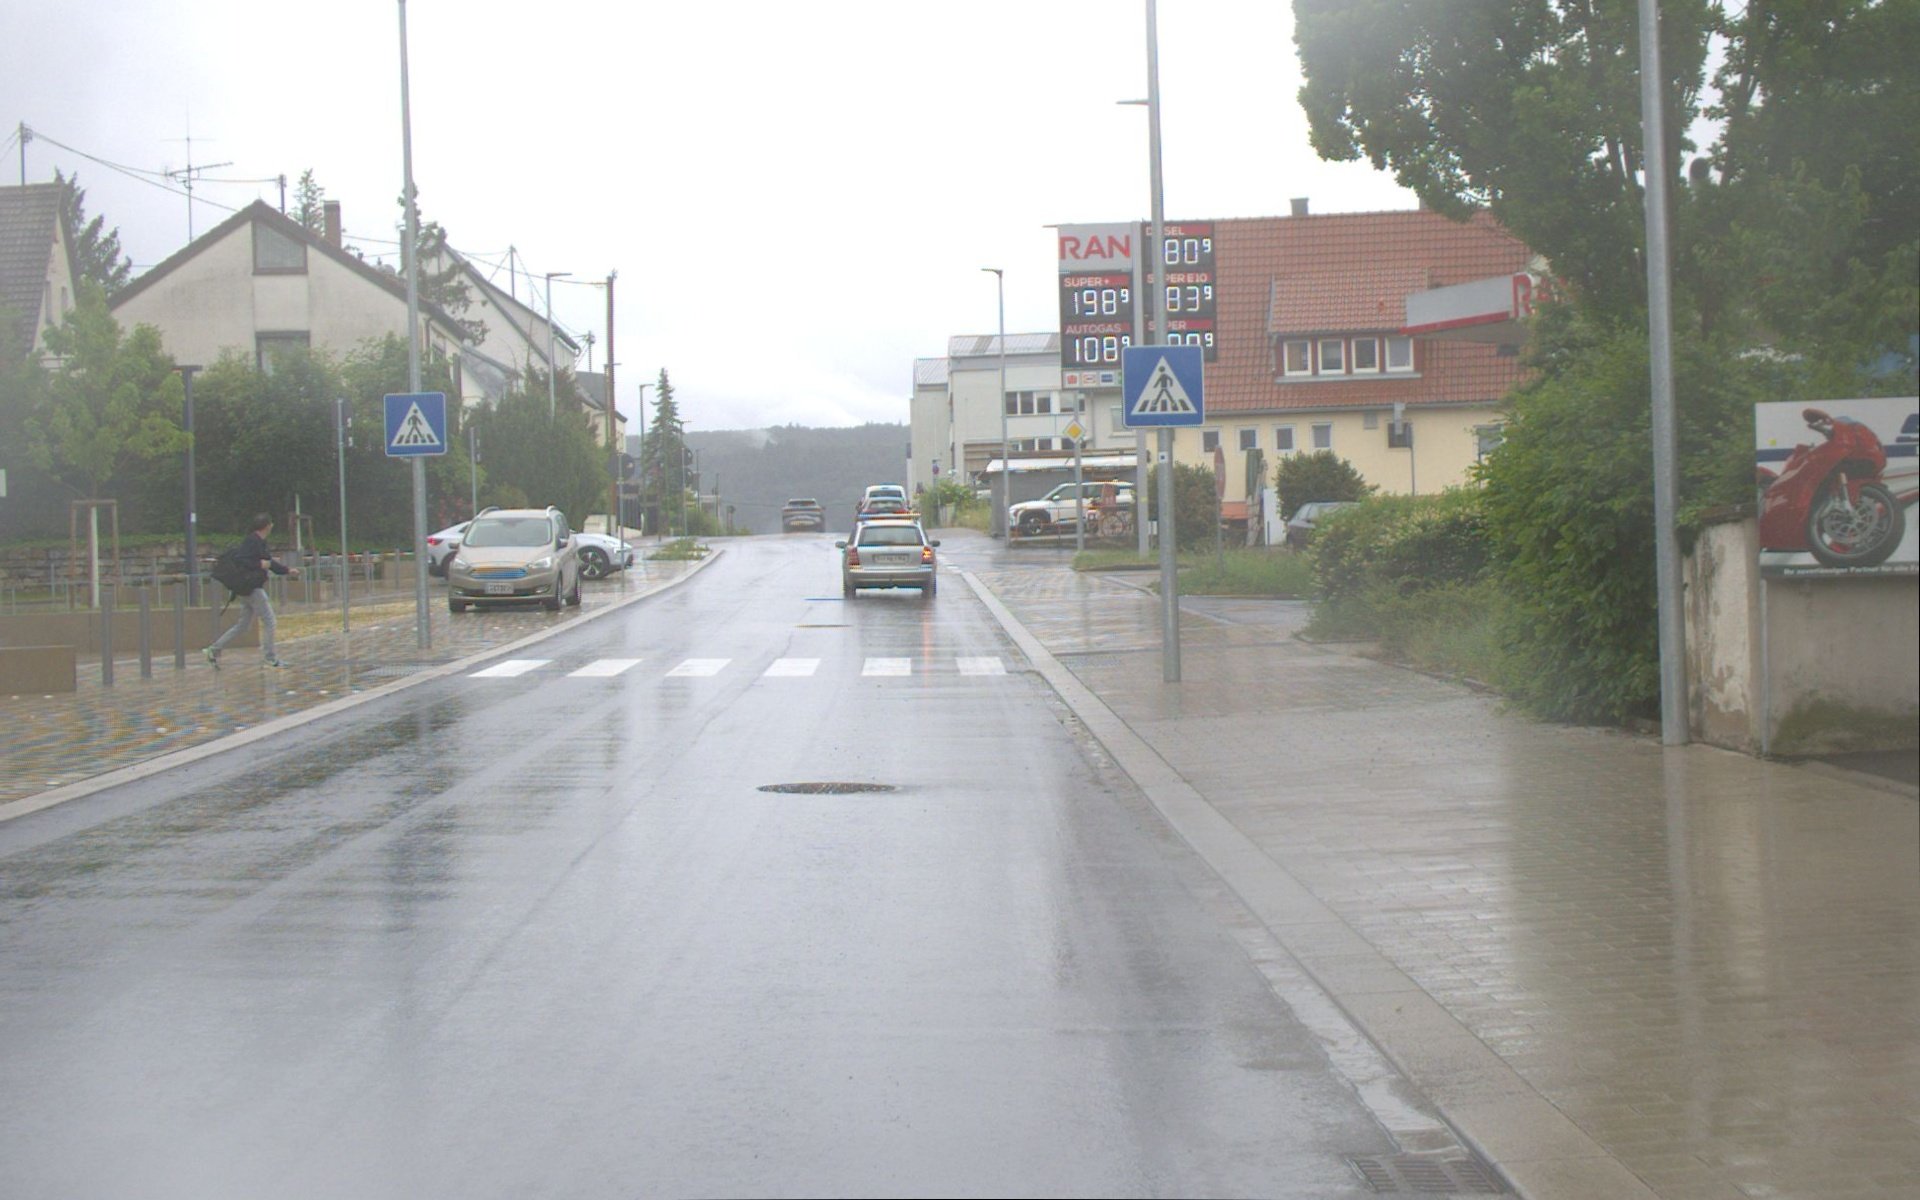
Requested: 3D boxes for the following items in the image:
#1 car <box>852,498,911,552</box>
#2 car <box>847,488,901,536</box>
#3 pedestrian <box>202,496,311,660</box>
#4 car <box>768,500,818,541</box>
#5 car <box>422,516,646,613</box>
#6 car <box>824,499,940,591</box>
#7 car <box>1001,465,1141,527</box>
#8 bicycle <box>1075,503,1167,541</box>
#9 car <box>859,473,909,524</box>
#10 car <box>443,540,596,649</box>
[{"bbox_3d":[-2.790,-2.645,121.939,1.993,1.700,4.000,2,0,-1],"label":"car"},{"bbox_3d":[-3.366,-3.436,135.041,1.993,1.700,4.000,2,0,-1],"label":"car"},{"bbox_3d":[-7.514,-0.242,36.773,1.013,1.718,0.772,-1,1,-3],"label":"pedestrian"},{"bbox_3d":[-7.738,-3.672,159.889,2.154,1.700,4.000,2,0,-1],"label":"car"},{"bbox_3d":[-9.752,-0.801,78.932,4.753,2.007,2.000,2,0,3],"label":"car"},{"bbox_3d":[-1.480,-0.990,63.670,1.948,1.550,4.000,2,0,-3],"label":"car"},{"bbox_3d":[3.408,-3.205,106.190,4.112,1.700,1.789,2,0,-4],"label":"car"},{"bbox_3d":[4.634,-2.259,99.599,0.668,1.063,3.629,3,0,-32],"label":"bicycle"},{"bbox_3d":[-2.840,-3.792,128.673,1.782,1.700,4.000,2,0,-1],"label":"car"},{"bbox_3d":[-7.185,-0.124,56.460,1.993,1.623,4.154,-2,2,-1],"label":"car"}]
